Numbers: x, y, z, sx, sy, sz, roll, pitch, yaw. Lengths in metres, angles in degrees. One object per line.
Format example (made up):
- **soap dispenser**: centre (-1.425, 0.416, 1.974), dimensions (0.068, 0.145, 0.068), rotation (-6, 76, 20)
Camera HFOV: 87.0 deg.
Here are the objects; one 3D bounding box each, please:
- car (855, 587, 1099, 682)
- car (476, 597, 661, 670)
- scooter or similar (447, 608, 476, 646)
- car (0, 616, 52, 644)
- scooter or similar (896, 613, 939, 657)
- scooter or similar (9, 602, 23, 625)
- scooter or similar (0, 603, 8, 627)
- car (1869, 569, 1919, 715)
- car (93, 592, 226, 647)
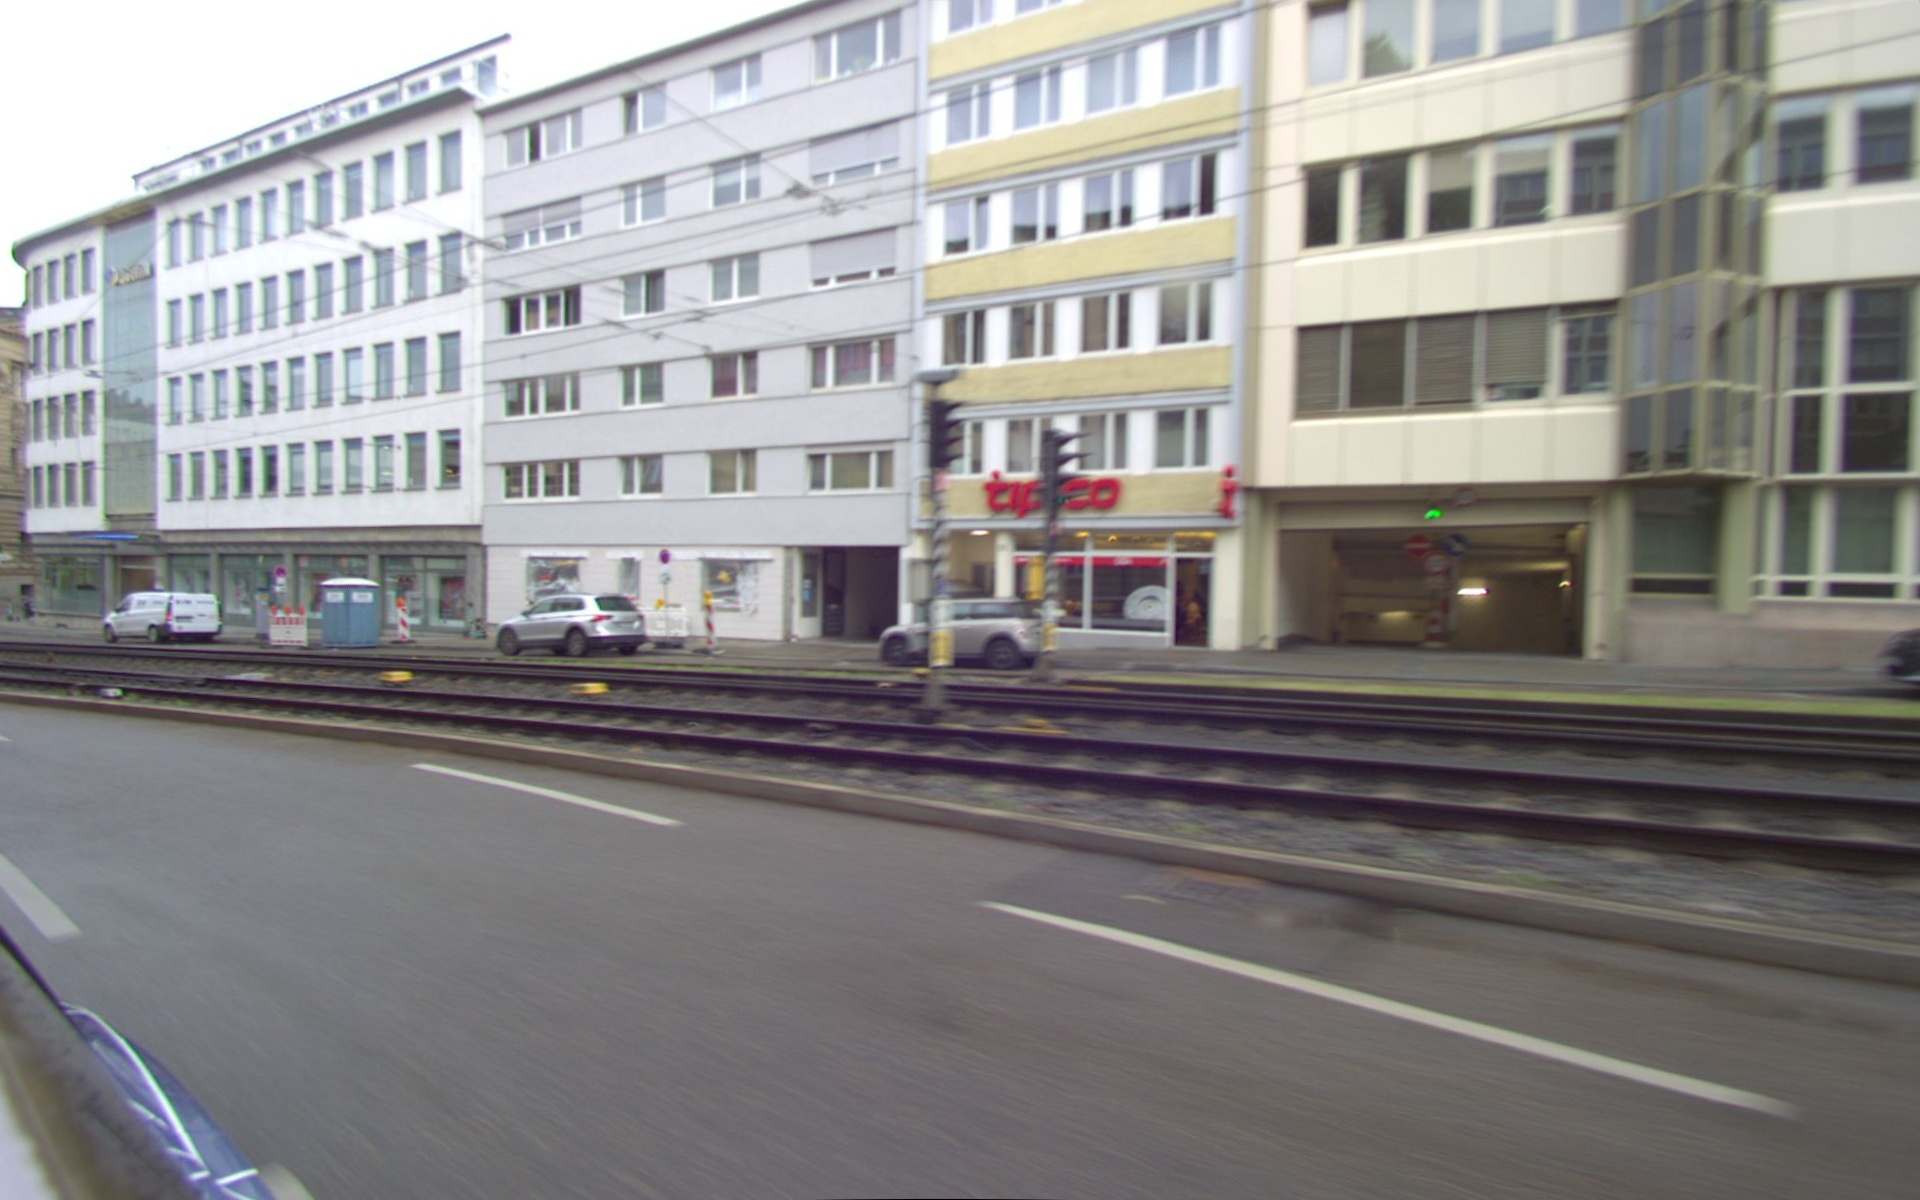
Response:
- **car**: centre (0.334, 0.620, 20.872), dimensions (4.672, 1.686, 1.982), rotation (1, 2, 27)
- **car**: centre (-10.314, 0.852, 26.589), dimensions (4.676, 1.686, 1.980), rotation (-1, 2, 30)
- **scooter or similar**: centre (-16.820, 0.901, 34.123), dimensions (0.969, 1.211, 0.378), rotation (1, 2, 29)
- **car**: centre (-56.972, 1.763, 60.665), dimensions (1.756, 1.408, 4.337), rotation (-1, 2, -11)
- **scooter or similar**: centre (-1.067, 0.888, 25.347), dimensions (0.969, 1.040, 0.378), rotation (-3, 0, 29)
- **scooter or similar**: centre (-51.512, 0.739, 55.249), dimensions (0.404, 1.209, 1.563), rotation (-2, 3, -38)
- **scooter or similar**: centre (-51.929, 0.819, 54.829), dimensions (0.405, 1.209, 1.561), rotation (-2, 3, -45)
- **car**: centre (14.861, 0.542, 12.746), dimensions (4.672, 1.864, 1.982), rotation (1, 2, 27)
- **car**: centre (-29.944, 0.663, 37.832), dimensions (5.106, 1.856, 1.982), rotation (1, 2, 27)
